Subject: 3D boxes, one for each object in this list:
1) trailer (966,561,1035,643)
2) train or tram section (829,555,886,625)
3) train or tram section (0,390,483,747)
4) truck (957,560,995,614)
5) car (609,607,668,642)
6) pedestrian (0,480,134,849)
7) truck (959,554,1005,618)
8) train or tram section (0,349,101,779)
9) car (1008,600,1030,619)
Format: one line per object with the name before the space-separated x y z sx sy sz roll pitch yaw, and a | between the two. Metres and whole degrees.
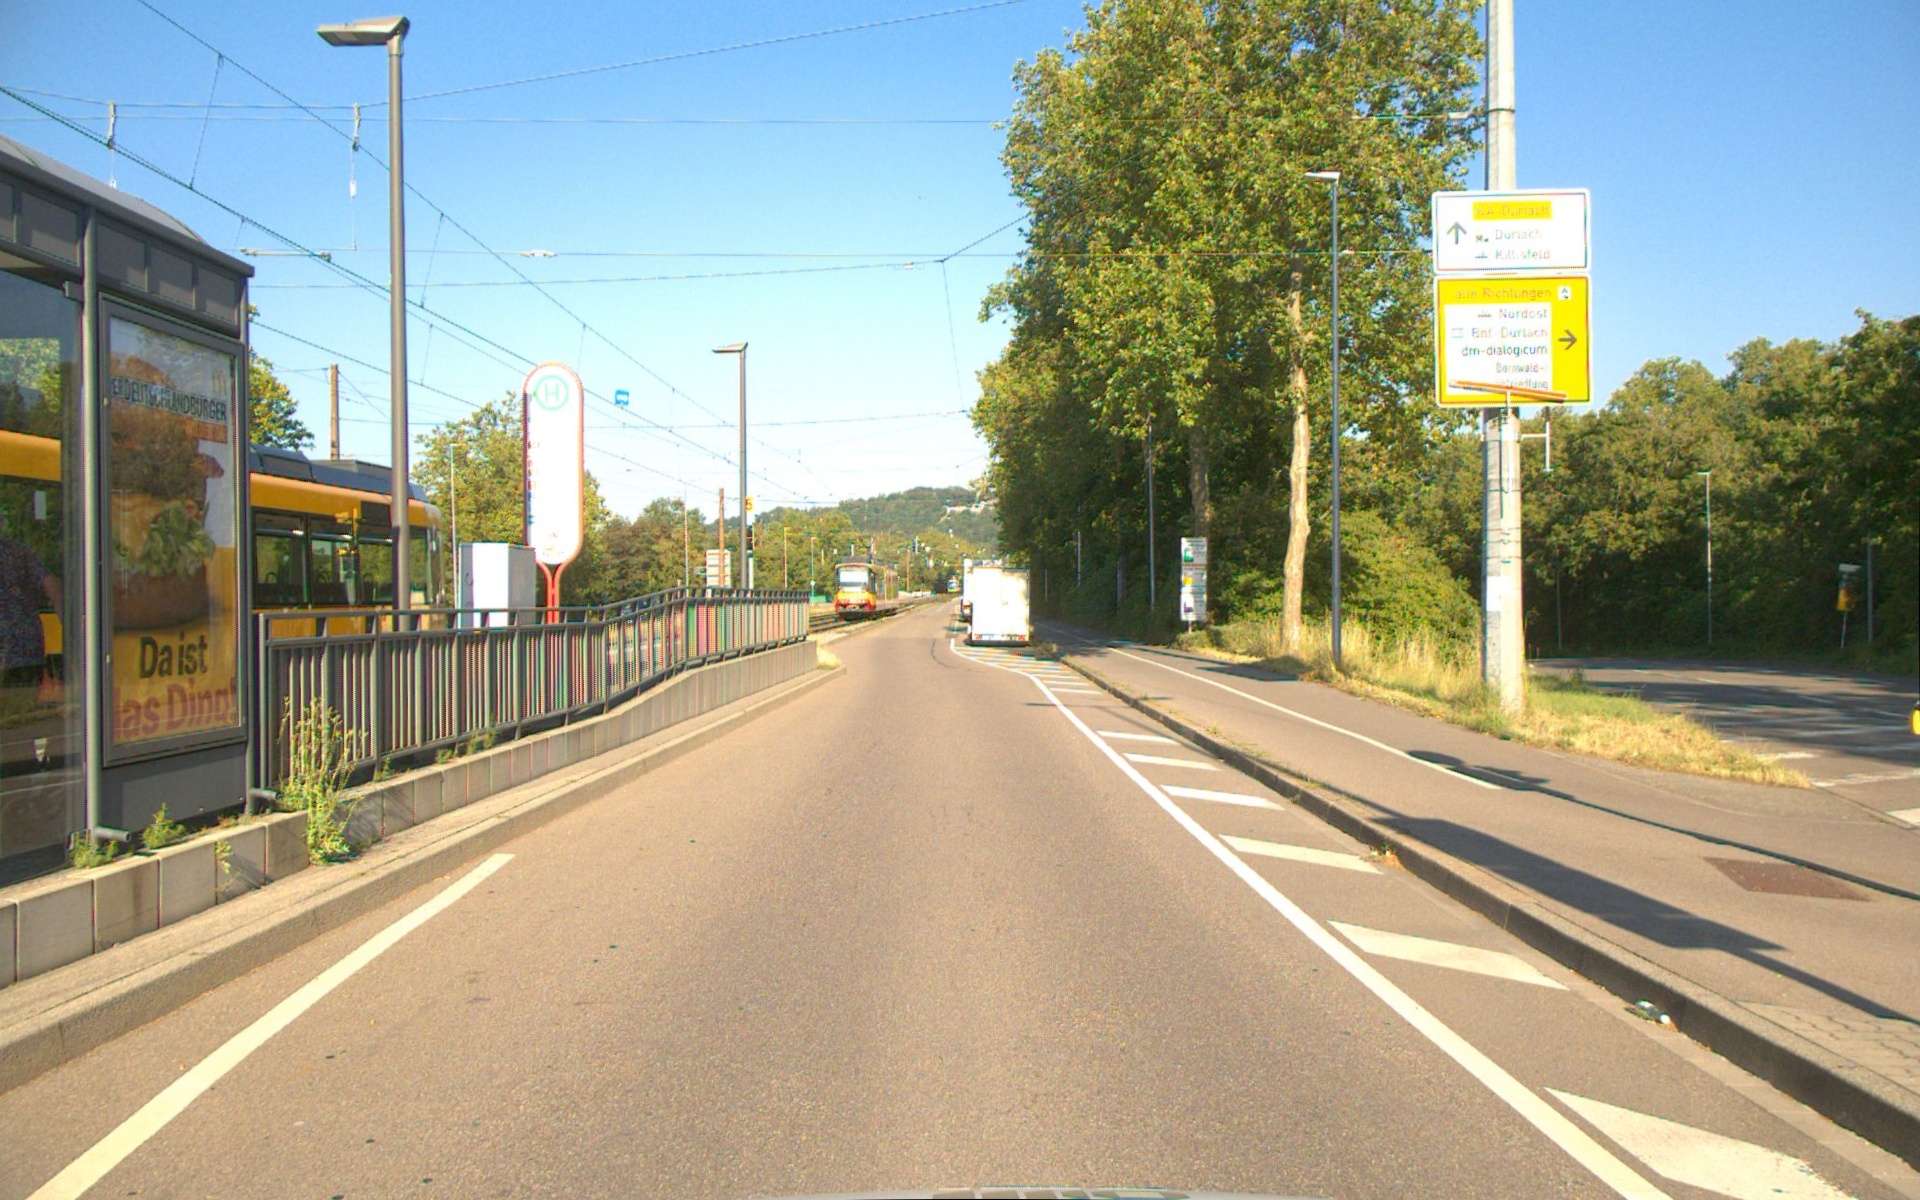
trailer | 1.480 0.055 57.920 2.204 2.742 5.949 0 0 3
train or tram section | -6.488 -0.607 106.604 2.665 4.162 13.616 -1 0 0
train or tram section | -10.303 -0.339 23.950 2.769 3.751 12.970 1 0 1
truck | 1.126 -0.992 124.867 2.661 3.849 9.760 1 0 0
car | -15.607 1.173 80.577 1.952 1.589 4.543 0 0 1
pedestrian | -4.150 0.265 7.212 0.746 1.519 0.693 0 0 34
truck | 1.360 -0.860 105.835 2.686 3.849 10.088 1 0 0
train or tram section | -10.594 -0.361 9.456 2.769 4.076 15.876 1 0 1
car | 4.536 0.739 127.007 1.619 1.462 3.778 0 0 2
